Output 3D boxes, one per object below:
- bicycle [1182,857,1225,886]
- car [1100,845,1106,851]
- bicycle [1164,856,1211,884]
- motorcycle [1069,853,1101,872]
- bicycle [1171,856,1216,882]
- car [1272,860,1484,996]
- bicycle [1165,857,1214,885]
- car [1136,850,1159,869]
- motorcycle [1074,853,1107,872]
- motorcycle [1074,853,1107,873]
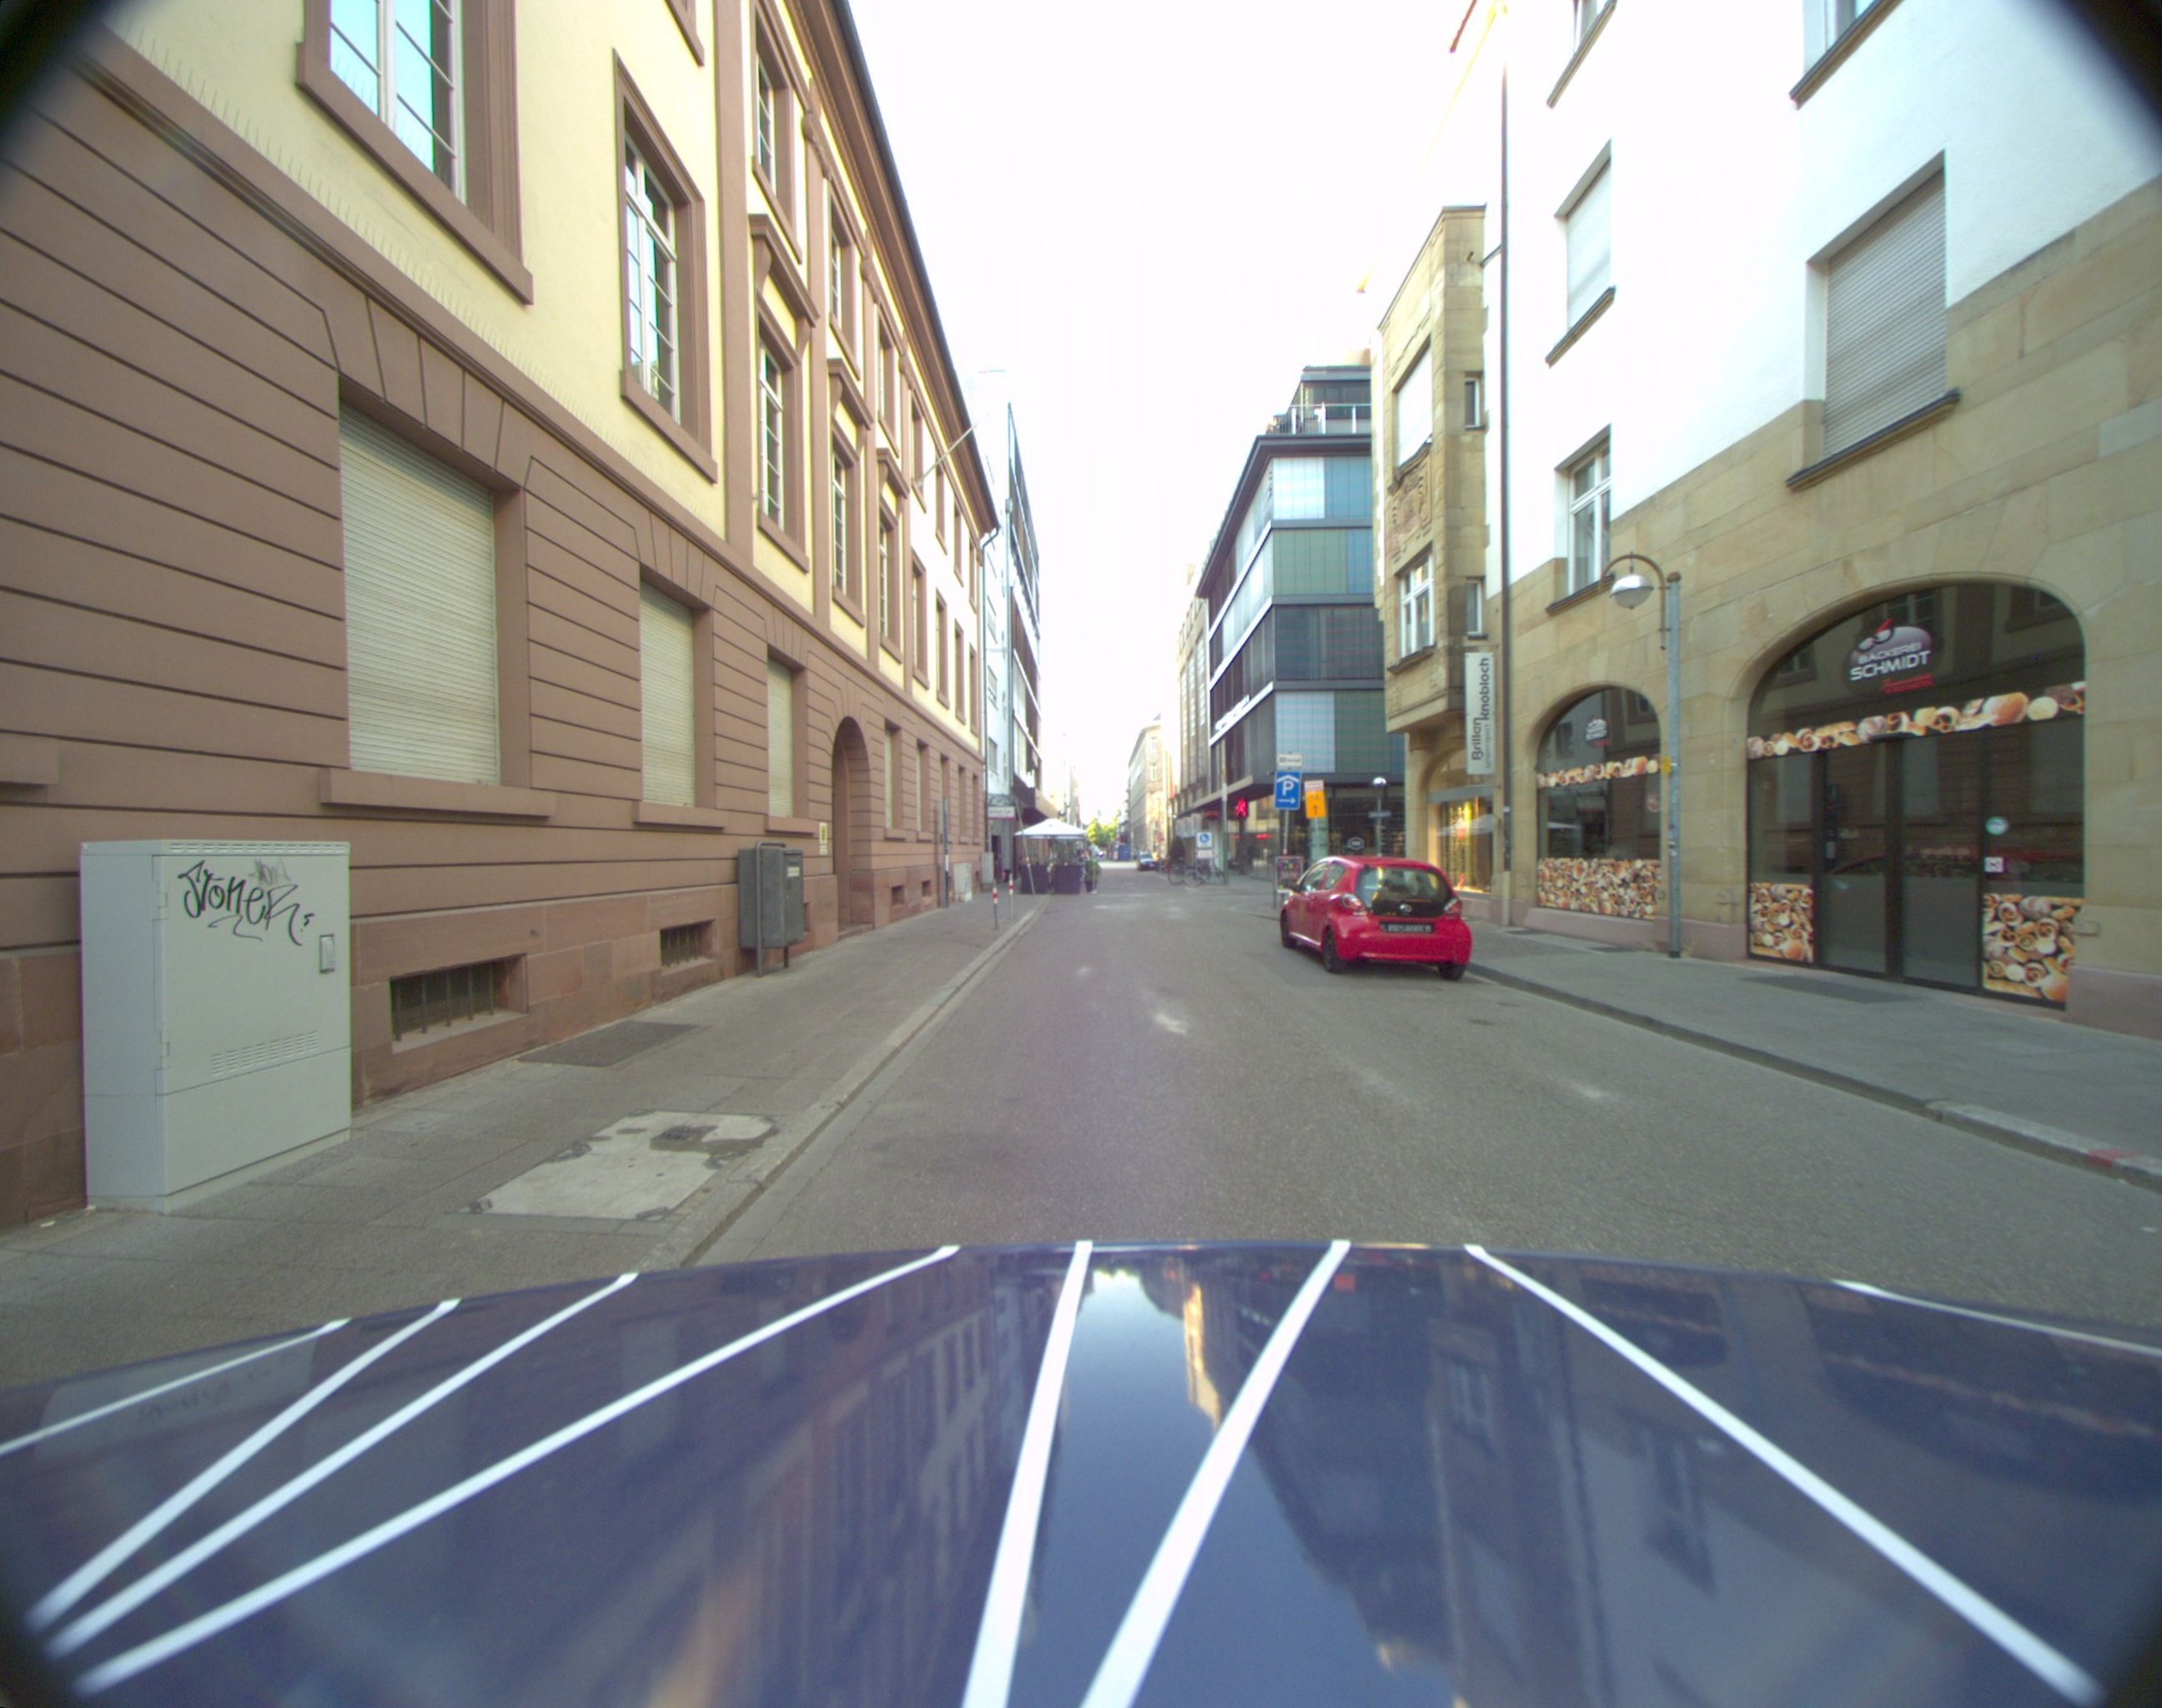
[{"bbox_3d":[4.939,0.685,30.694,1.607,1.112,0.620,-1,1,2],"label":"bicycle"},{"bbox_3d":[5.128,-1.332,176.956,1.426,1.259,3.563,-1,1,1],"label":"car"},{"bbox_3d":[4.615,0.698,33.063,1.952,1.124,0.620,-1,1,2],"label":"bicycle"},{"bbox_3d":[0.264,0.572,53.109,2.192,1.275,0.651,0,1,3],"label":"motorcycle"},{"bbox_3d":[5.150,0.680,34.855,1.952,1.124,0.526,-1,1,2],"label":"bicycle"},{"bbox_3d":[3.790,0.856,10.263,1.637,1.433,3.157,3,1,2],"label":"car"},{"bbox_3d":[4.576,0.711,32.156,1.952,1.124,0.620,-1,1,2],"label":"bicycle"},{"bbox_3d":[5.152,0.429,59.259,1.426,1.409,3.895,-1,1,1],"label":"car"},{"bbox_3d":[0.621,0.582,51.378,2.192,1.275,0.651,0,1,3],"label":"motorcycle"},{"bbox_3d":[0.646,0.591,50.414,2.192,1.275,0.651,0,1,3],"label":"motorcycle"}]
